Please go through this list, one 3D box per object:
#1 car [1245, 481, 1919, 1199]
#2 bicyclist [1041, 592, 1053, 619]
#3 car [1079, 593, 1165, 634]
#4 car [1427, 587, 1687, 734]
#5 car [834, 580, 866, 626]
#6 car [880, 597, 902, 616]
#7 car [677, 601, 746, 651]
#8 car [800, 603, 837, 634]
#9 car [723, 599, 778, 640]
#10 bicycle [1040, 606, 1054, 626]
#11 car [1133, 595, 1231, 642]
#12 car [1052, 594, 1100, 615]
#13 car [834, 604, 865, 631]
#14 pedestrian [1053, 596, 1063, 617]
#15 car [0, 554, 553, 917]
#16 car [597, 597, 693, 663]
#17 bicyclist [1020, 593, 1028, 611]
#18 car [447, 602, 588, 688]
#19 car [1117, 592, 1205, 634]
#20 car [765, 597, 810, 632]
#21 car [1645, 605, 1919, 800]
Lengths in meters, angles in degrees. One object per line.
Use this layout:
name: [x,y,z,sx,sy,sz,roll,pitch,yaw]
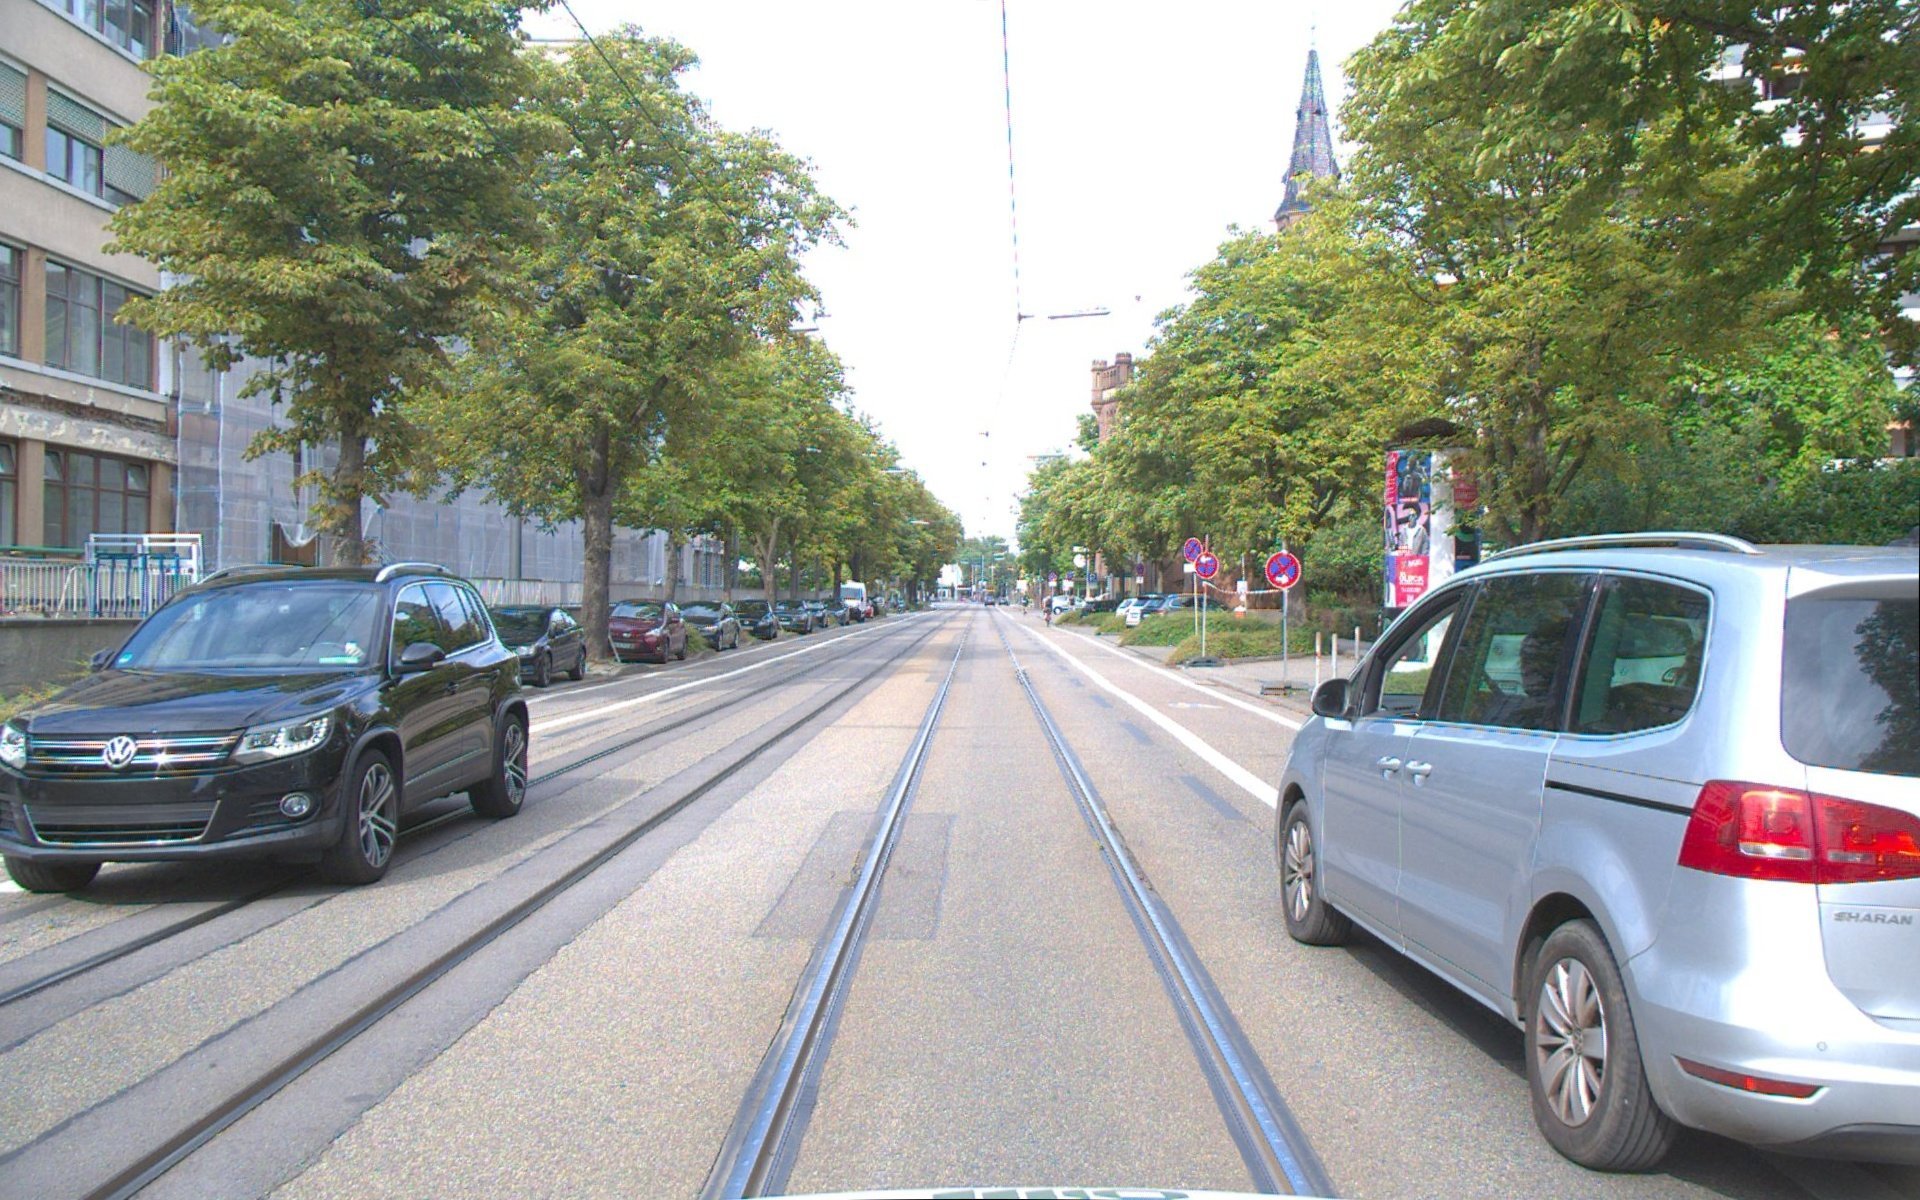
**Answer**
car: [2.457,0.616,5.832,1.776,1.730,4.613,1,0,-4]
bicyclist: [4.863,0.321,92.398,0.581,1.485,0.875,1,0,-2]
car: [6.703,0.571,68.269,1.654,1.630,3.620,0,-1,45]
car: [7.376,0.692,20.280,1.654,1.630,3.620,0,-1,45]
car: [-6.896,0.177,104.201,1.686,2.751,5.468,1,0,-1]
car: [-5.392,0.497,129.635,1.558,1.427,3.550,1,0,1]
car: [-7.435,0.749,49.753,1.558,1.427,3.961,1,0,-1]
car: [-6.886,0.875,80.649,1.558,1.427,3.961,1,0,-1]
car: [-7.573,0.693,60.131,1.558,1.427,3.961,1,0,-1]
bicycle: [4.851,0.887,92.396,0.581,1.062,1.977,1,0,-1]
car: [7.996,0.668,59.344,1.654,1.630,3.620,0,-1,45]
car: [9.967,0.356,142.494,3.909,1.722,1.998,1,0,-5]
car: [-6.050,0.954,90.843,1.558,1.427,3.961,1,0,-1]
pedestrian: [8.433,0.546,142.420,0.732,1.821,0.731,0,-1,16]
car: [-3.811,0.616,9.824,1.697,1.657,4.378,-1,0,0]
car: [-7.673,0.693,40.617,1.602,1.522,3.962,1,0,0]
bicyclist: [5.327,0.169,138.413,0.645,1.522,0.929,1,0,1]
car: [-7.928,0.765,29.958,1.558,1.427,3.961,1,0,-1]
car: [8.064,0.523,66.124,1.654,1.630,3.620,0,-1,45]
car: [-7.319,0.610,70.283,1.558,1.427,3.961,1,0,-1]
car: [7.554,0.787,14.136,3.611,1.444,1.658,1,-1,-39]
